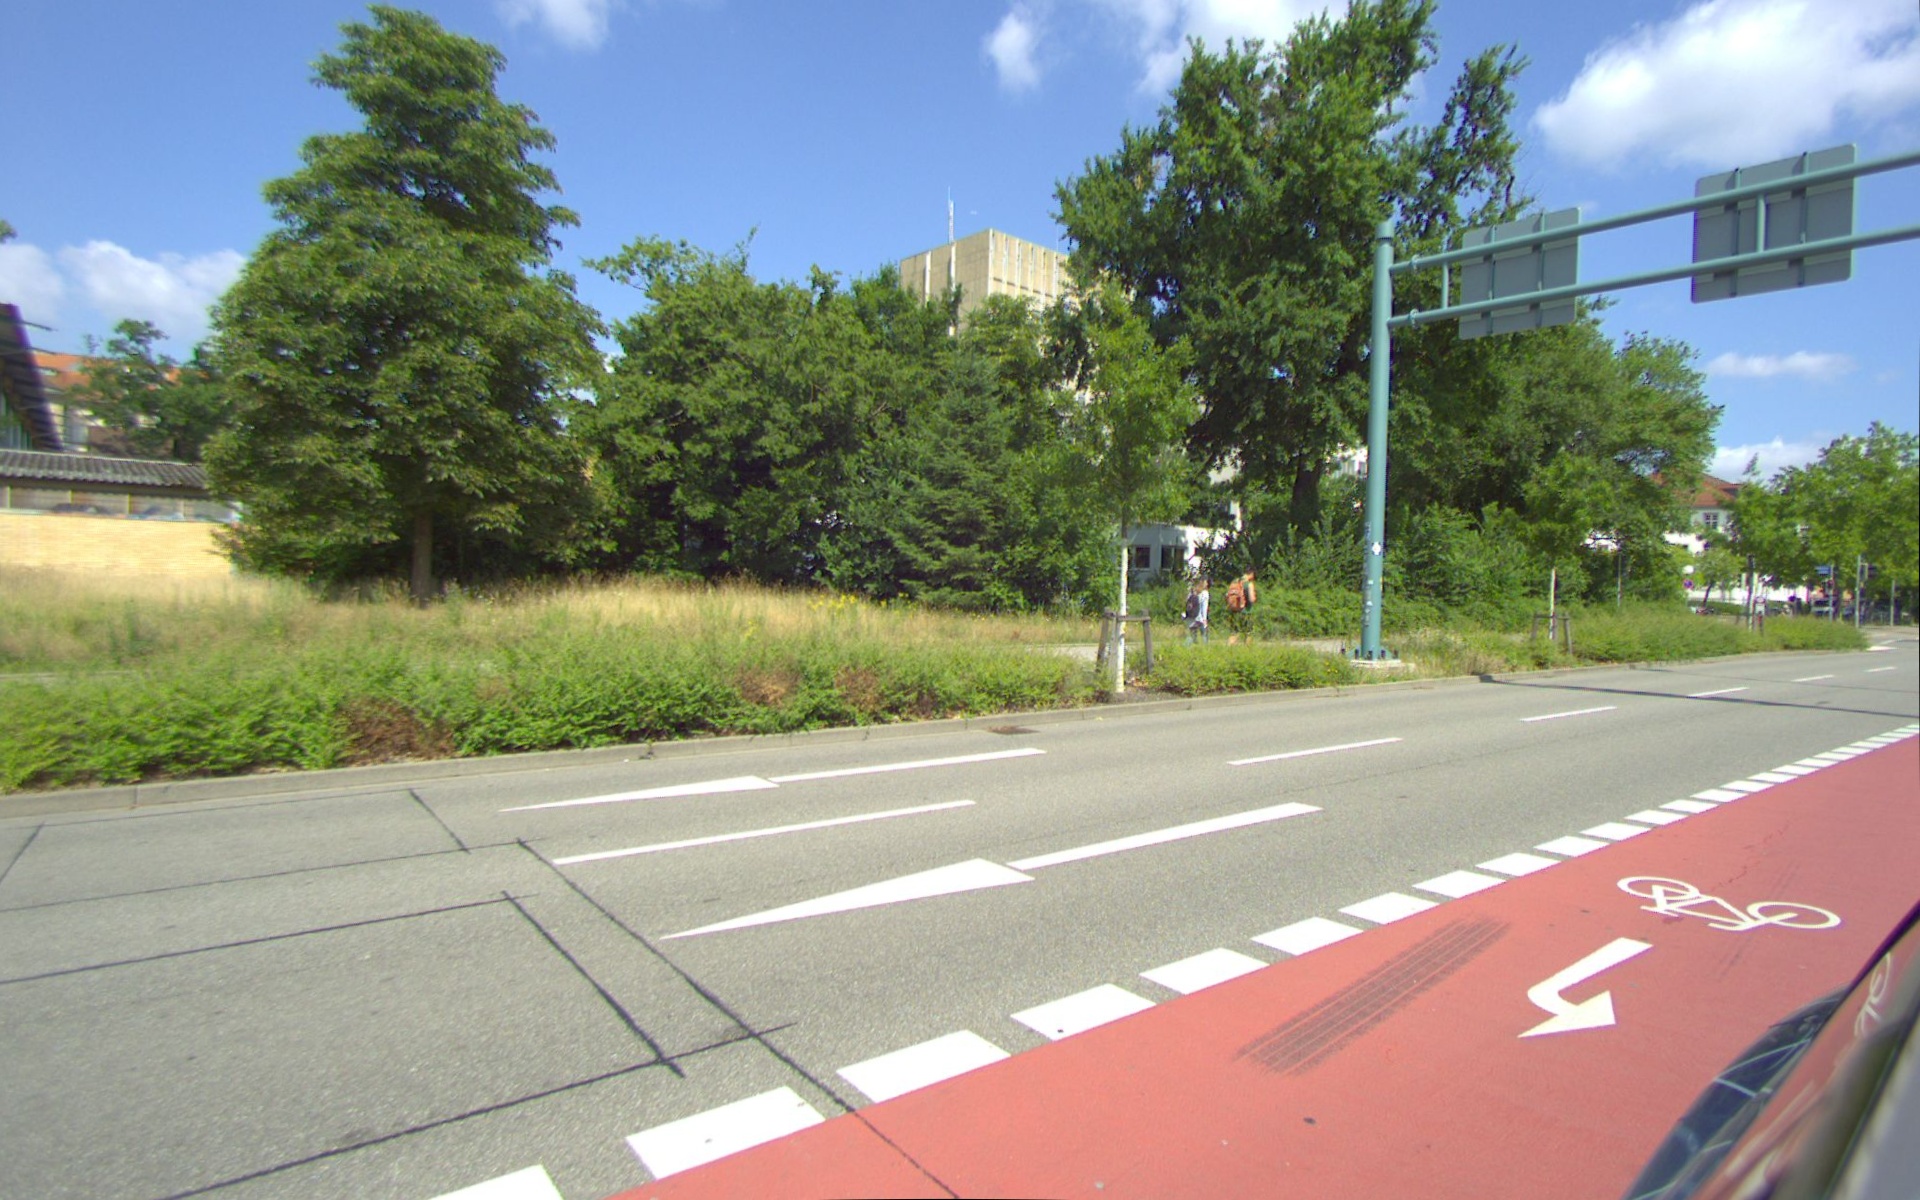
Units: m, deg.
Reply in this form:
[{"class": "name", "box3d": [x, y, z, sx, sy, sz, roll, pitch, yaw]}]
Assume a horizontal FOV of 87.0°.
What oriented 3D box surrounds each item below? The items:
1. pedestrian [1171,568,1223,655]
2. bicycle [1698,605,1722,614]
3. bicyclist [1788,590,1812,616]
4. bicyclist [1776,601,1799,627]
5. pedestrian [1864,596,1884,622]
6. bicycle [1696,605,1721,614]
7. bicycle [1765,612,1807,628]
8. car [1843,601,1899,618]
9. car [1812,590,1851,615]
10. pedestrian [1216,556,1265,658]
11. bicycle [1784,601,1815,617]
[{"class": "pedestrian", "box3d": [4.506, 0.208, 19.244, 0.695, 1.600, 0.625, 1, 1, -37]}, {"class": "bicycle", "box3d": [67.553, 0.860, 91.193, 1.668, 0.800, 0.617, 3, 1, 44]}, {"class": "bicyclist", "box3d": [50.056, 0.195, 60.323, 0.601, 1.526, 0.919, 2, 1, 2]}, {"class": "bicyclist", "box3d": [44.596, 0.766, 54.542, 0.928, 1.366, 0.439, 1, 0, 40]}, {"class": "pedestrian", "box3d": [59.752, 0.558, 66.175, 0.626, 1.670, 0.744, 1, 1, -25]}, {"class": "bicycle", "box3d": [67.096, 0.858, 90.722, 1.668, 0.800, 0.617, 3, 1, 44]}, {"class": "bicycle", "box3d": [44.541, 1.058, 54.583, 1.748, 0.785, 0.439, 2, 1, 41]}, {"class": "car", "box3d": [89.476, 0.936, 99.473, 3.985, 1.442, 1.731, 3, 1, 42]}, {"class": "car", "box3d": [72.813, 0.223, 84.520, 4.821, 2.039, 1.995, 1, 1, -44]}, {"class": "pedestrian", "box3d": [5.157, 0.122, 18.619, 0.627, 1.824, 0.568, 1, 1, -37]}, {"class": "bicycle", "box3d": [50.042, 0.529, 60.319, 0.609, 0.844, 1.514, 2, 1, 2]}]
